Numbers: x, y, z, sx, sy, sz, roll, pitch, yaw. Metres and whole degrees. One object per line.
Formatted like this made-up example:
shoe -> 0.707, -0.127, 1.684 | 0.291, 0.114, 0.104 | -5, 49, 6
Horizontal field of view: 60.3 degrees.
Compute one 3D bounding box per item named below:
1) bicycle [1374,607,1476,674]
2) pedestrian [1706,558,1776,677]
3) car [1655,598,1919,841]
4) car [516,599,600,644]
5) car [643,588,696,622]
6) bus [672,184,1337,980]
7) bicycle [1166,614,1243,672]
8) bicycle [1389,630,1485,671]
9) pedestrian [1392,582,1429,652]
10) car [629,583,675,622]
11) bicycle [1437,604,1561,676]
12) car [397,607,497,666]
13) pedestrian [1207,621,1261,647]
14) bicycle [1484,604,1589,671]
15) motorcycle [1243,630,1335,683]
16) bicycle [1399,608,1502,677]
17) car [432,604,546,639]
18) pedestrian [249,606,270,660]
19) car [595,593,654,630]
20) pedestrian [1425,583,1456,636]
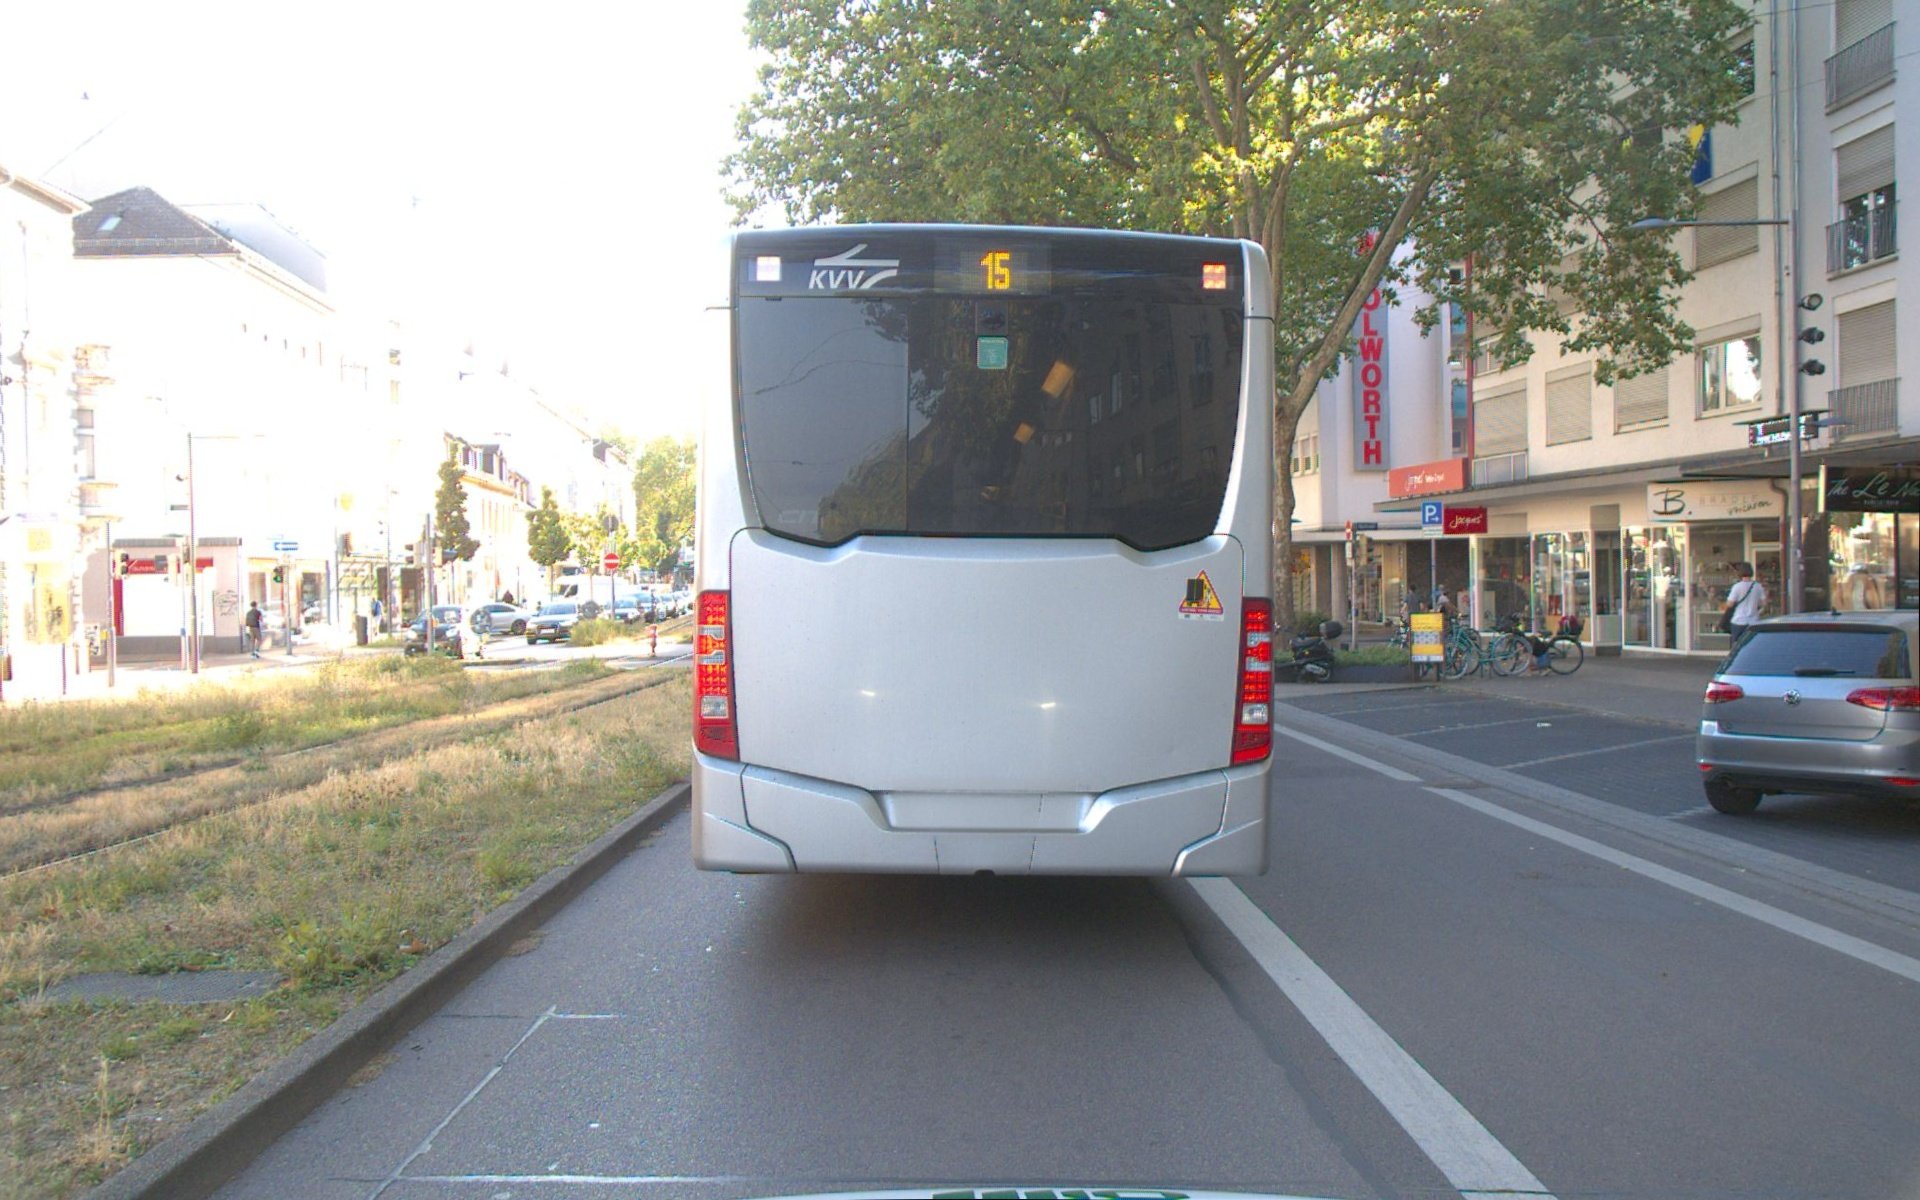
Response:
bicycle -> 9.368, 0.812, 33.356 | 1.836, 1.210, 0.712 | -4, -1, 8
pedestrian -> 12.773, 0.283, 27.066 | 0.632, 1.909, 0.821 | -1, 0, -14
car -> 7.083, 0.742, 12.292 | 4.136, 1.477, 1.784 | -1, 0, -39
car -> -14.910, 0.770, 61.549 | 1.953, 1.586, 4.774 | -1, 0, 0
car -> -14.758, 0.222, 84.196 | 1.744, 1.643, 4.509 | 2, 1, 1
bus -> 0.201, -0.096, 10.096 | 2.623, 3.137, 7.114 | 0, 0, 0
bicycle -> 5.082, 0.887, 34.409 | 1.478, 1.124, 0.460 | 2, 0, 0
bicycle -> 9.892, 1.051, 34.353 | 1.836, 0.778, 0.712 | -1, 1, 8
pedestrian -> 12.017, 0.453, 44.142 | 0.764, 1.825, 0.764 | -1, 0, -1
car -> -16.962, 0.126, 91.307 | 1.954, 2.049, 3.997 | -1, 0, -3
bicycle -> 10.050, 0.740, 30.893 | 2.037, 1.254, 0.832 | -2, 0, 4
car -> -14.752, 1.028, 47.727 | 1.687, 1.535, 3.476 | -3, 0, 0
pedestrian -> 6.786, 0.844, 41.035 | 1.229, 0.599, 0.482 | -2, 0, -3
bicycle -> 10.889, 0.705, 31.294 | 1.726, 1.174, 0.679 | -3, 0, 8
motorcycle -> 5.977, 1.017, 30.109 | 1.539, 0.908, 0.544 | -1, 0, -4
bicycle -> 9.598, 0.822, 32.356 | 1.753, 1.210, 0.671 | -4, 0, -9
car -> -21.081, 0.961, 74.115 | 4.504, 1.437, 1.974 | -1, 0, -37
pedestrian -> -22.973, 1.070, 54.217 | 0.417, 1.743, 0.508 | -1, 0, 3
car -> -15.312, 0.486, 75.686 | 1.744, 1.475, 4.045 | -3, 1, 1
pedestrian -> 15.855, 0.317, 54.562 | 0.733, 1.708, 0.834 | -1, 2, -7
